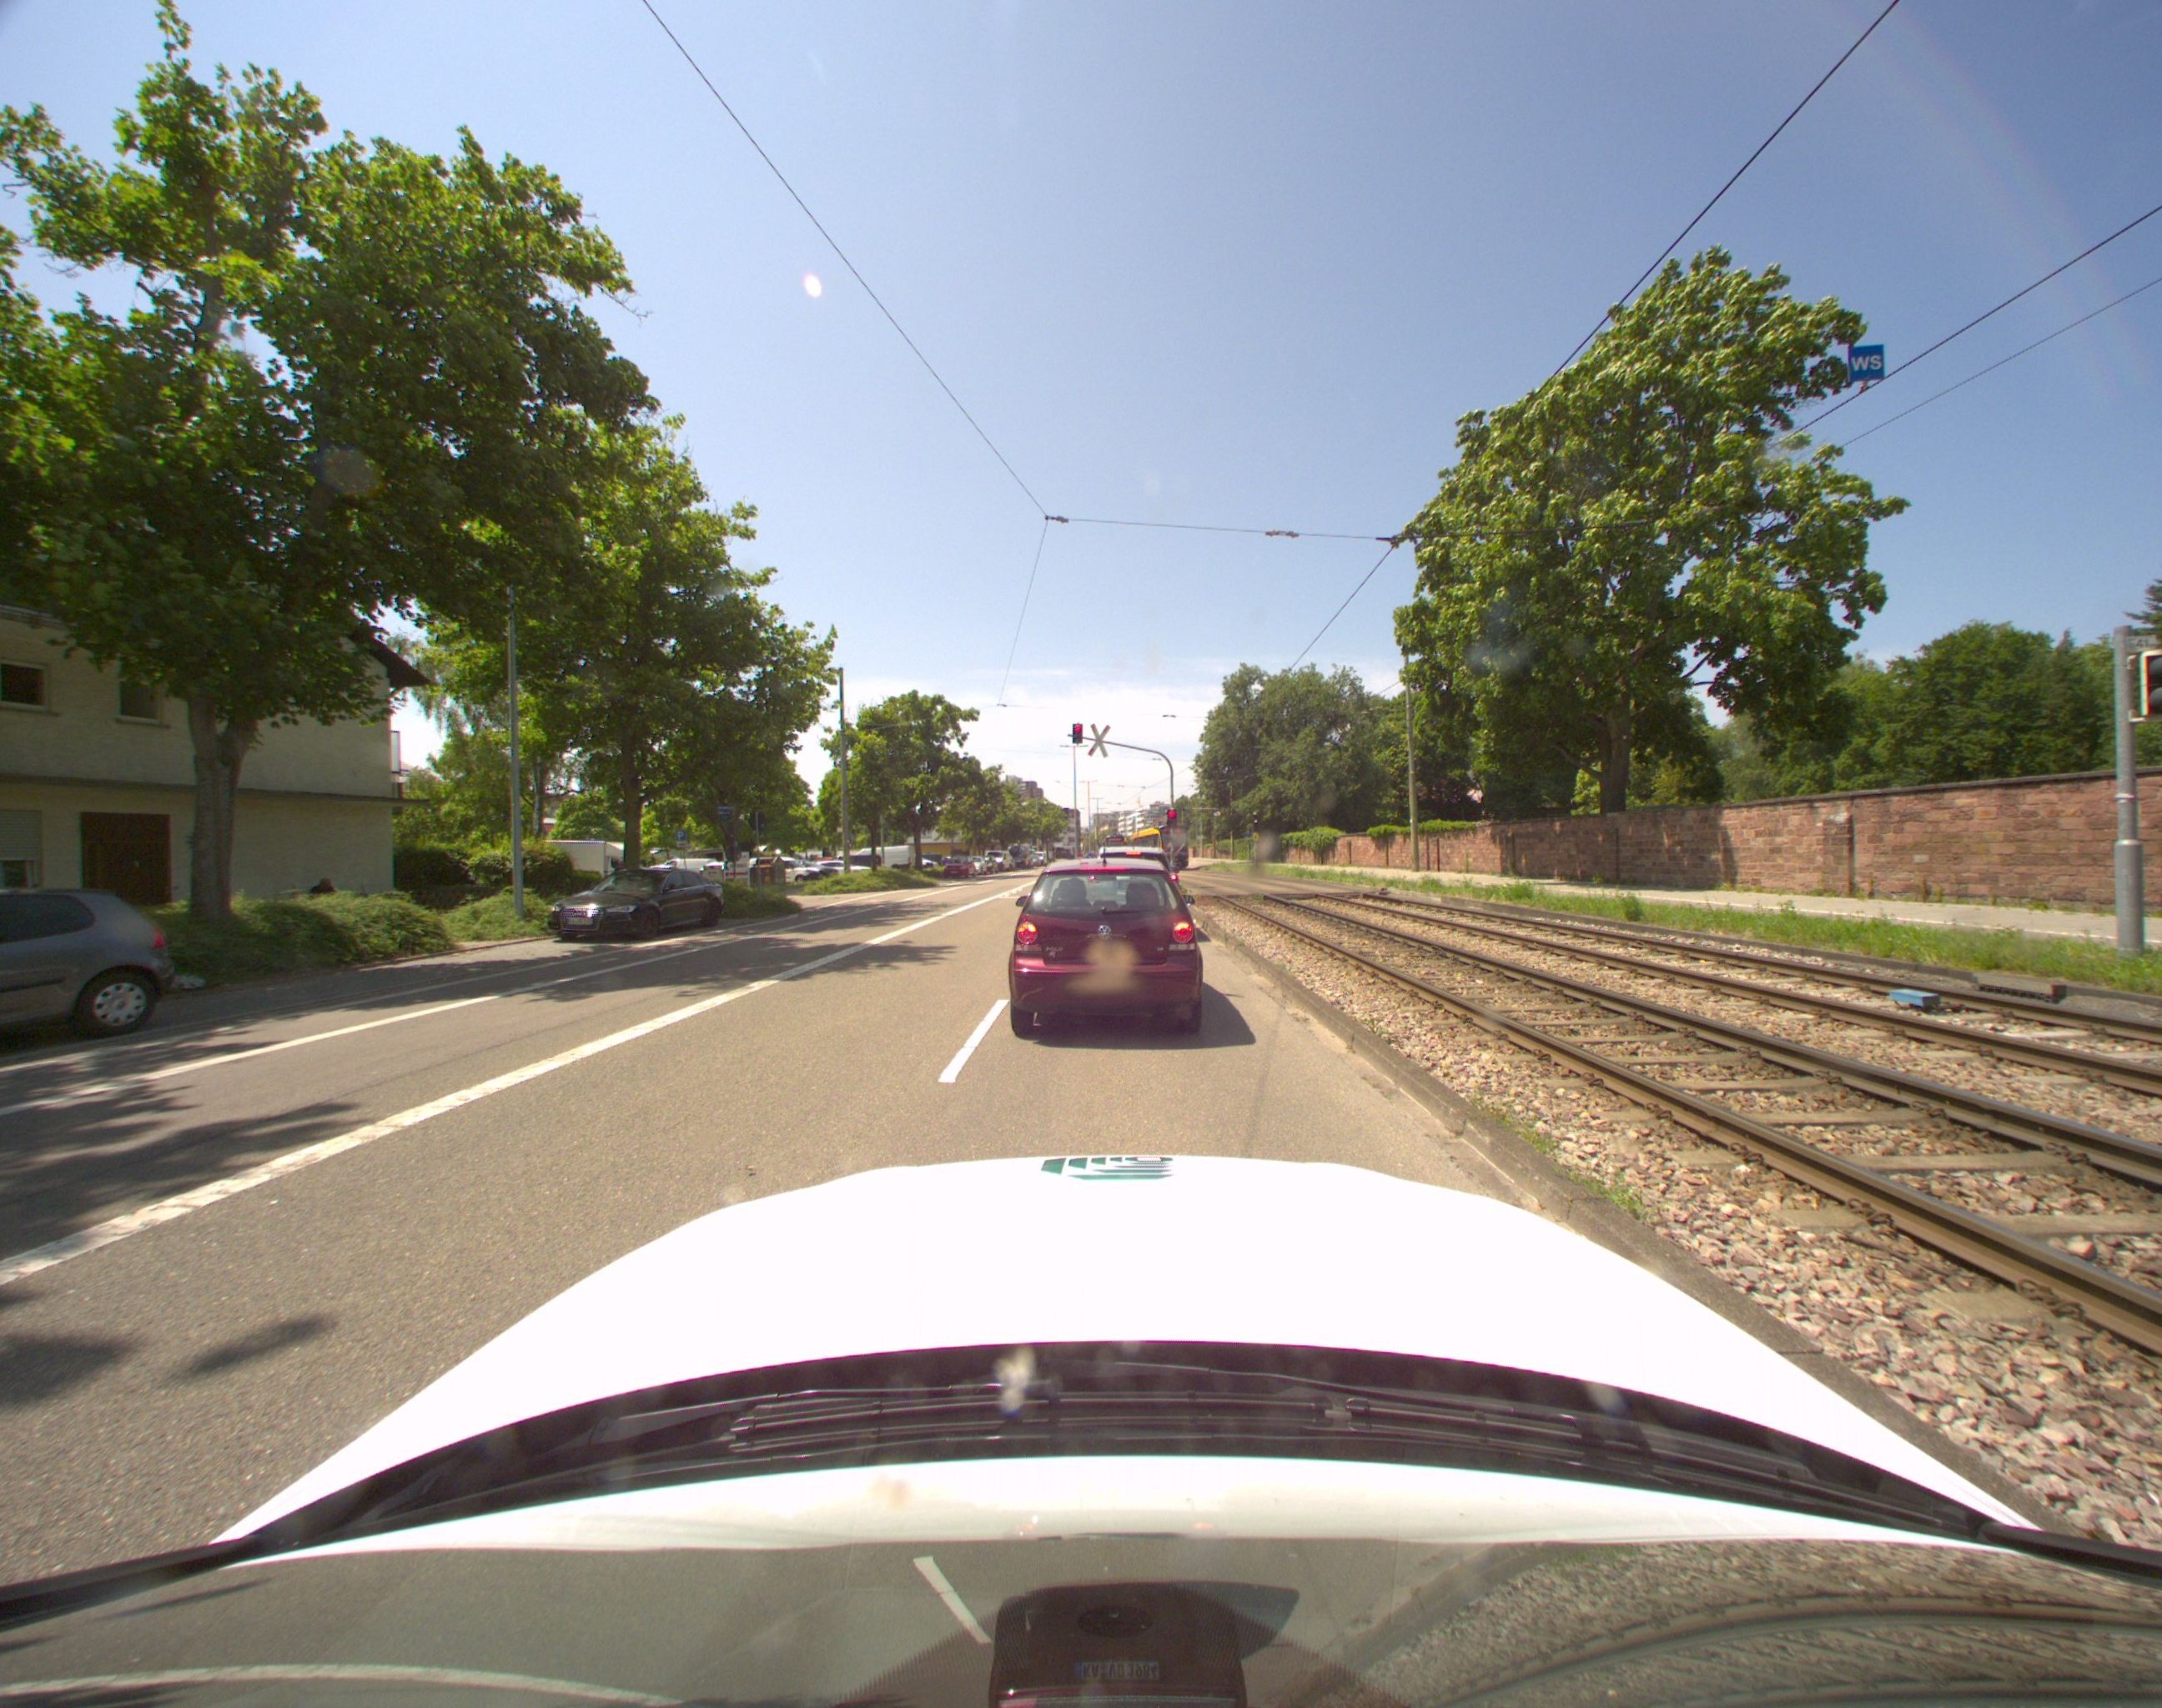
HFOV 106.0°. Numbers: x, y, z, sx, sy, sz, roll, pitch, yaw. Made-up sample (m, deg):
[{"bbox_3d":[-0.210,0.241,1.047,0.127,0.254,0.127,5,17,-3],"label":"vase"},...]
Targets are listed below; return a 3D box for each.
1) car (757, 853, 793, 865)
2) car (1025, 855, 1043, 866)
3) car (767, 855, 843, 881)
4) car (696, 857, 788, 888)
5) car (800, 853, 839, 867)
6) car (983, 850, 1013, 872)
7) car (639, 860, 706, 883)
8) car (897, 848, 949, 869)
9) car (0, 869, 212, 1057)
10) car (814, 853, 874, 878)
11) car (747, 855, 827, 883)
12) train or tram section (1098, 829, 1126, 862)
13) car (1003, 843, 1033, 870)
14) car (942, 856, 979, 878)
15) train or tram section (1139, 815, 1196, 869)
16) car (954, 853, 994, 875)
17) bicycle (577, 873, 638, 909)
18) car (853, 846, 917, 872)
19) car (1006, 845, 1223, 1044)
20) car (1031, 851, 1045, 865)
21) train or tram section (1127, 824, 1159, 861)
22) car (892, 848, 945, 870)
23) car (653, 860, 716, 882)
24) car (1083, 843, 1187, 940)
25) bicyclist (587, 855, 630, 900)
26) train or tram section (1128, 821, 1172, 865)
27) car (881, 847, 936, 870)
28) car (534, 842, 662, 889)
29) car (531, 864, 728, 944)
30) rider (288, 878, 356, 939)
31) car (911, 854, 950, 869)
[{"bbox_3d":[-40.776,0.654,108.674,4.004,1.617,1.818,1,-1,3],"label":"car"},{"bbox_3d":[-5.956,0.813,103.351,1.606,1.441,4.006,1,-1,6],"label":"car"},{"bbox_3d":[-18.327,0.935,54.232,4.319,1.585,1.917,-2,0,8],"label":"car"},{"bbox_3d":[-19.272,1.051,46.440,4.329,1.585,1.912,-2,0,-1],"label":"car"},{"bbox_3d":[-31.455,0.755,98.107,4.006,1.617,1.816,1,-1,0],"label":"car"},{"bbox_3d":[-7.349,0.604,72.696,1.774,1.881,4.792,1,-1,5],"label":"car"},{"bbox_3d":[-30.326,1.312,60.522,3.982,1.653,1.812,1,-1,-7],"label":"car"},{"bbox_3d":[-17.254,0.528,89.144,5.076,2.244,2.380,1,-1,3],"label":"car"},{"bbox_3d":[-10.181,0.958,6.549,1.812,1.564,4.182,0,0,1],"label":"car"},{"bbox_3d":[-18.088,0.839,62.266,3.973,1.746,1.998,-2,0,0],"label":"car"},{"bbox_3d":[-18.542,0.951,51.440,4.319,1.585,1.917,-2,0,7],"label":"car"},{"bbox_3d":[3.566,-1.005,96.003,2.732,3.609,12.866,1,0,0],"label":"train or tram section"},{"bbox_3d":[-6.585,0.250,85.732,2.352,2.692,5.311,1,-1,3],"label":"car"},{"bbox_3d":[-8.243,0.878,55.915,1.655,1.497,4.004,1,-1,4],"label":"car"},{"bbox_3d":[6.658,-0.863,65.087,3.019,3.797,13.086,-2,0,0],"label":"train or tram section"},{"bbox_3d":[-8.130,0.735,62.468,1.965,1.601,4.566,1,-1,7],"label":"car"},{"bbox_3d":[-14.617,1.118,25.194,0.697,1.029,1.831,1,-1,5],"label":"bicycle"},{"bbox_3d":[-17.466,0.465,72.811,5.076,2.244,2.380,1,-1,3],"label":"car"},{"bbox_3d":[0.299,0.686,8.277,1.666,1.521,4.001,0,0,1],"label":"car"},{"bbox_3d":[-5.752,0.556,109.010,1.771,1.828,3.995,1,-1,-3],"label":"car"},{"bbox_3d":[6.810,-1.259,90.969,3.016,3.797,12.768,-2,0,3],"label":"train or tram section"},{"bbox_3d":[-17.196,0.504,86.502,5.076,2.244,2.380,1,-1,3],"label":"car"},{"bbox_3d":[-30.592,1.332,62.939,3.982,1.653,1.812,1,-1,-7],"label":"car"},{"bbox_3d":[0.963,0.626,15.898,1.770,1.647,4.001,0,0,1],"label":"car"},{"bbox_3d":[-14.619,0.714,25.211,0.805,1.374,0.829,1,-1,5],"label":"bicyclist"},{"bbox_3d":[6.434,-1.030,78.112,3.019,3.797,13.086,-2,0,0],"label":"train or tram section"},{"bbox_3d":[-17.779,0.474,84.047,5.076,2.244,2.380,1,-1,3],"label":"car"},{"bbox_3d":[-31.358,0.743,52.989,6.828,2.965,2.364,1,-1,0],"label":"car"},{"bbox_3d":[-9.805,1.002,18.174,1.812,1.476,4.450,0,0,1],"label":"car"},{"bbox_3d":[-17.912,1.279,19.241,0.820,1.374,0.814,-2,0,10],"label":"rider"},{"bbox_3d":[-17.288,0.863,93.510,4.004,1.617,1.818,1,-1,3],"label":"car"}]
